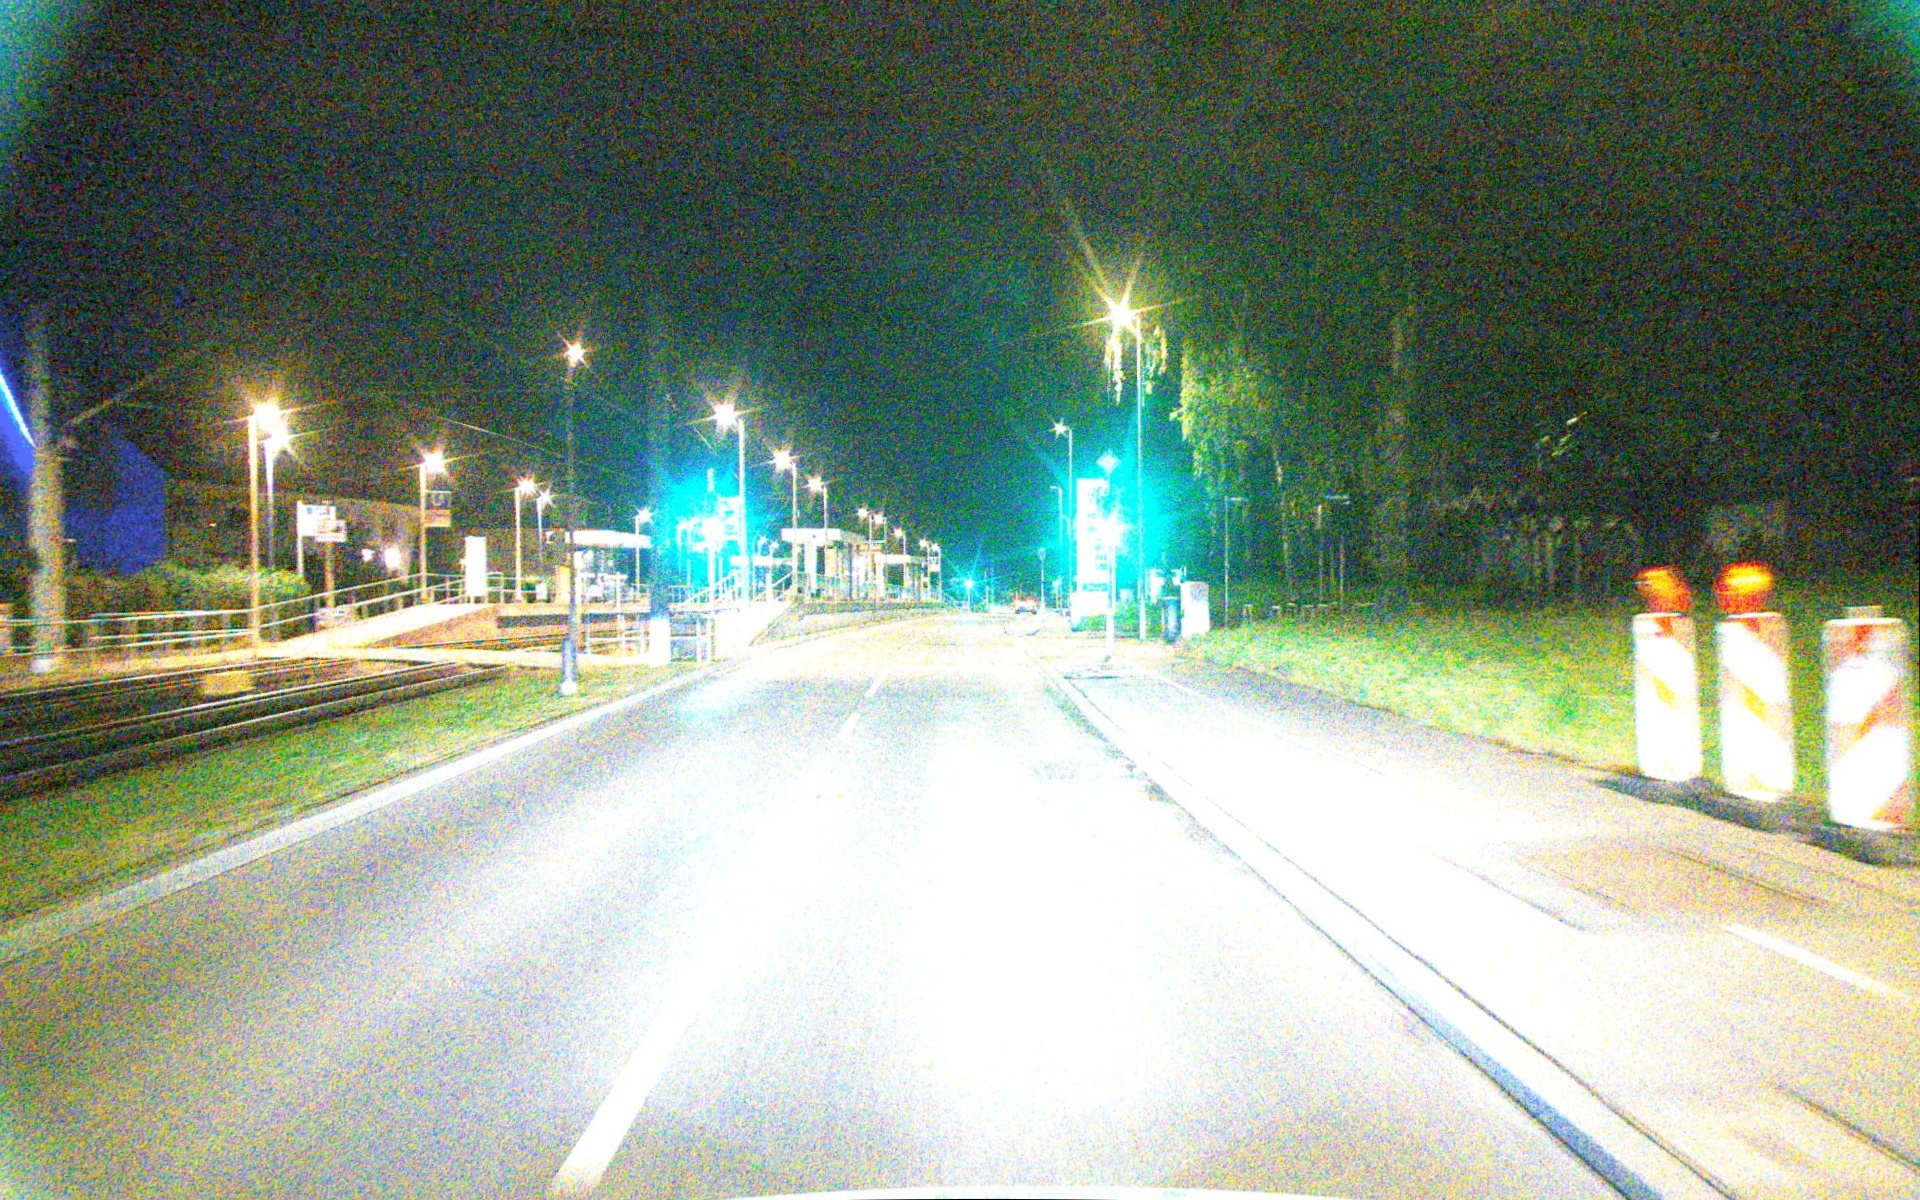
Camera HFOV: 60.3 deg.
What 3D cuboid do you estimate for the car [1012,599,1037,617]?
[{"bbox_3d":[5.981,0.712,152.546,2.116,1.610,4.015,1,0,4],"label":"car"}]

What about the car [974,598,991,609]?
[{"bbox_3d":[3.408,0.514,249.871,1.951,1.656,4.681,0,0,8],"label":"car"}]

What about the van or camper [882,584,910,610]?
[{"bbox_3d":[-6.773,-0.326,174.901,2.225,2.693,5.667,-2,0,4],"label":"van or camper"}]
